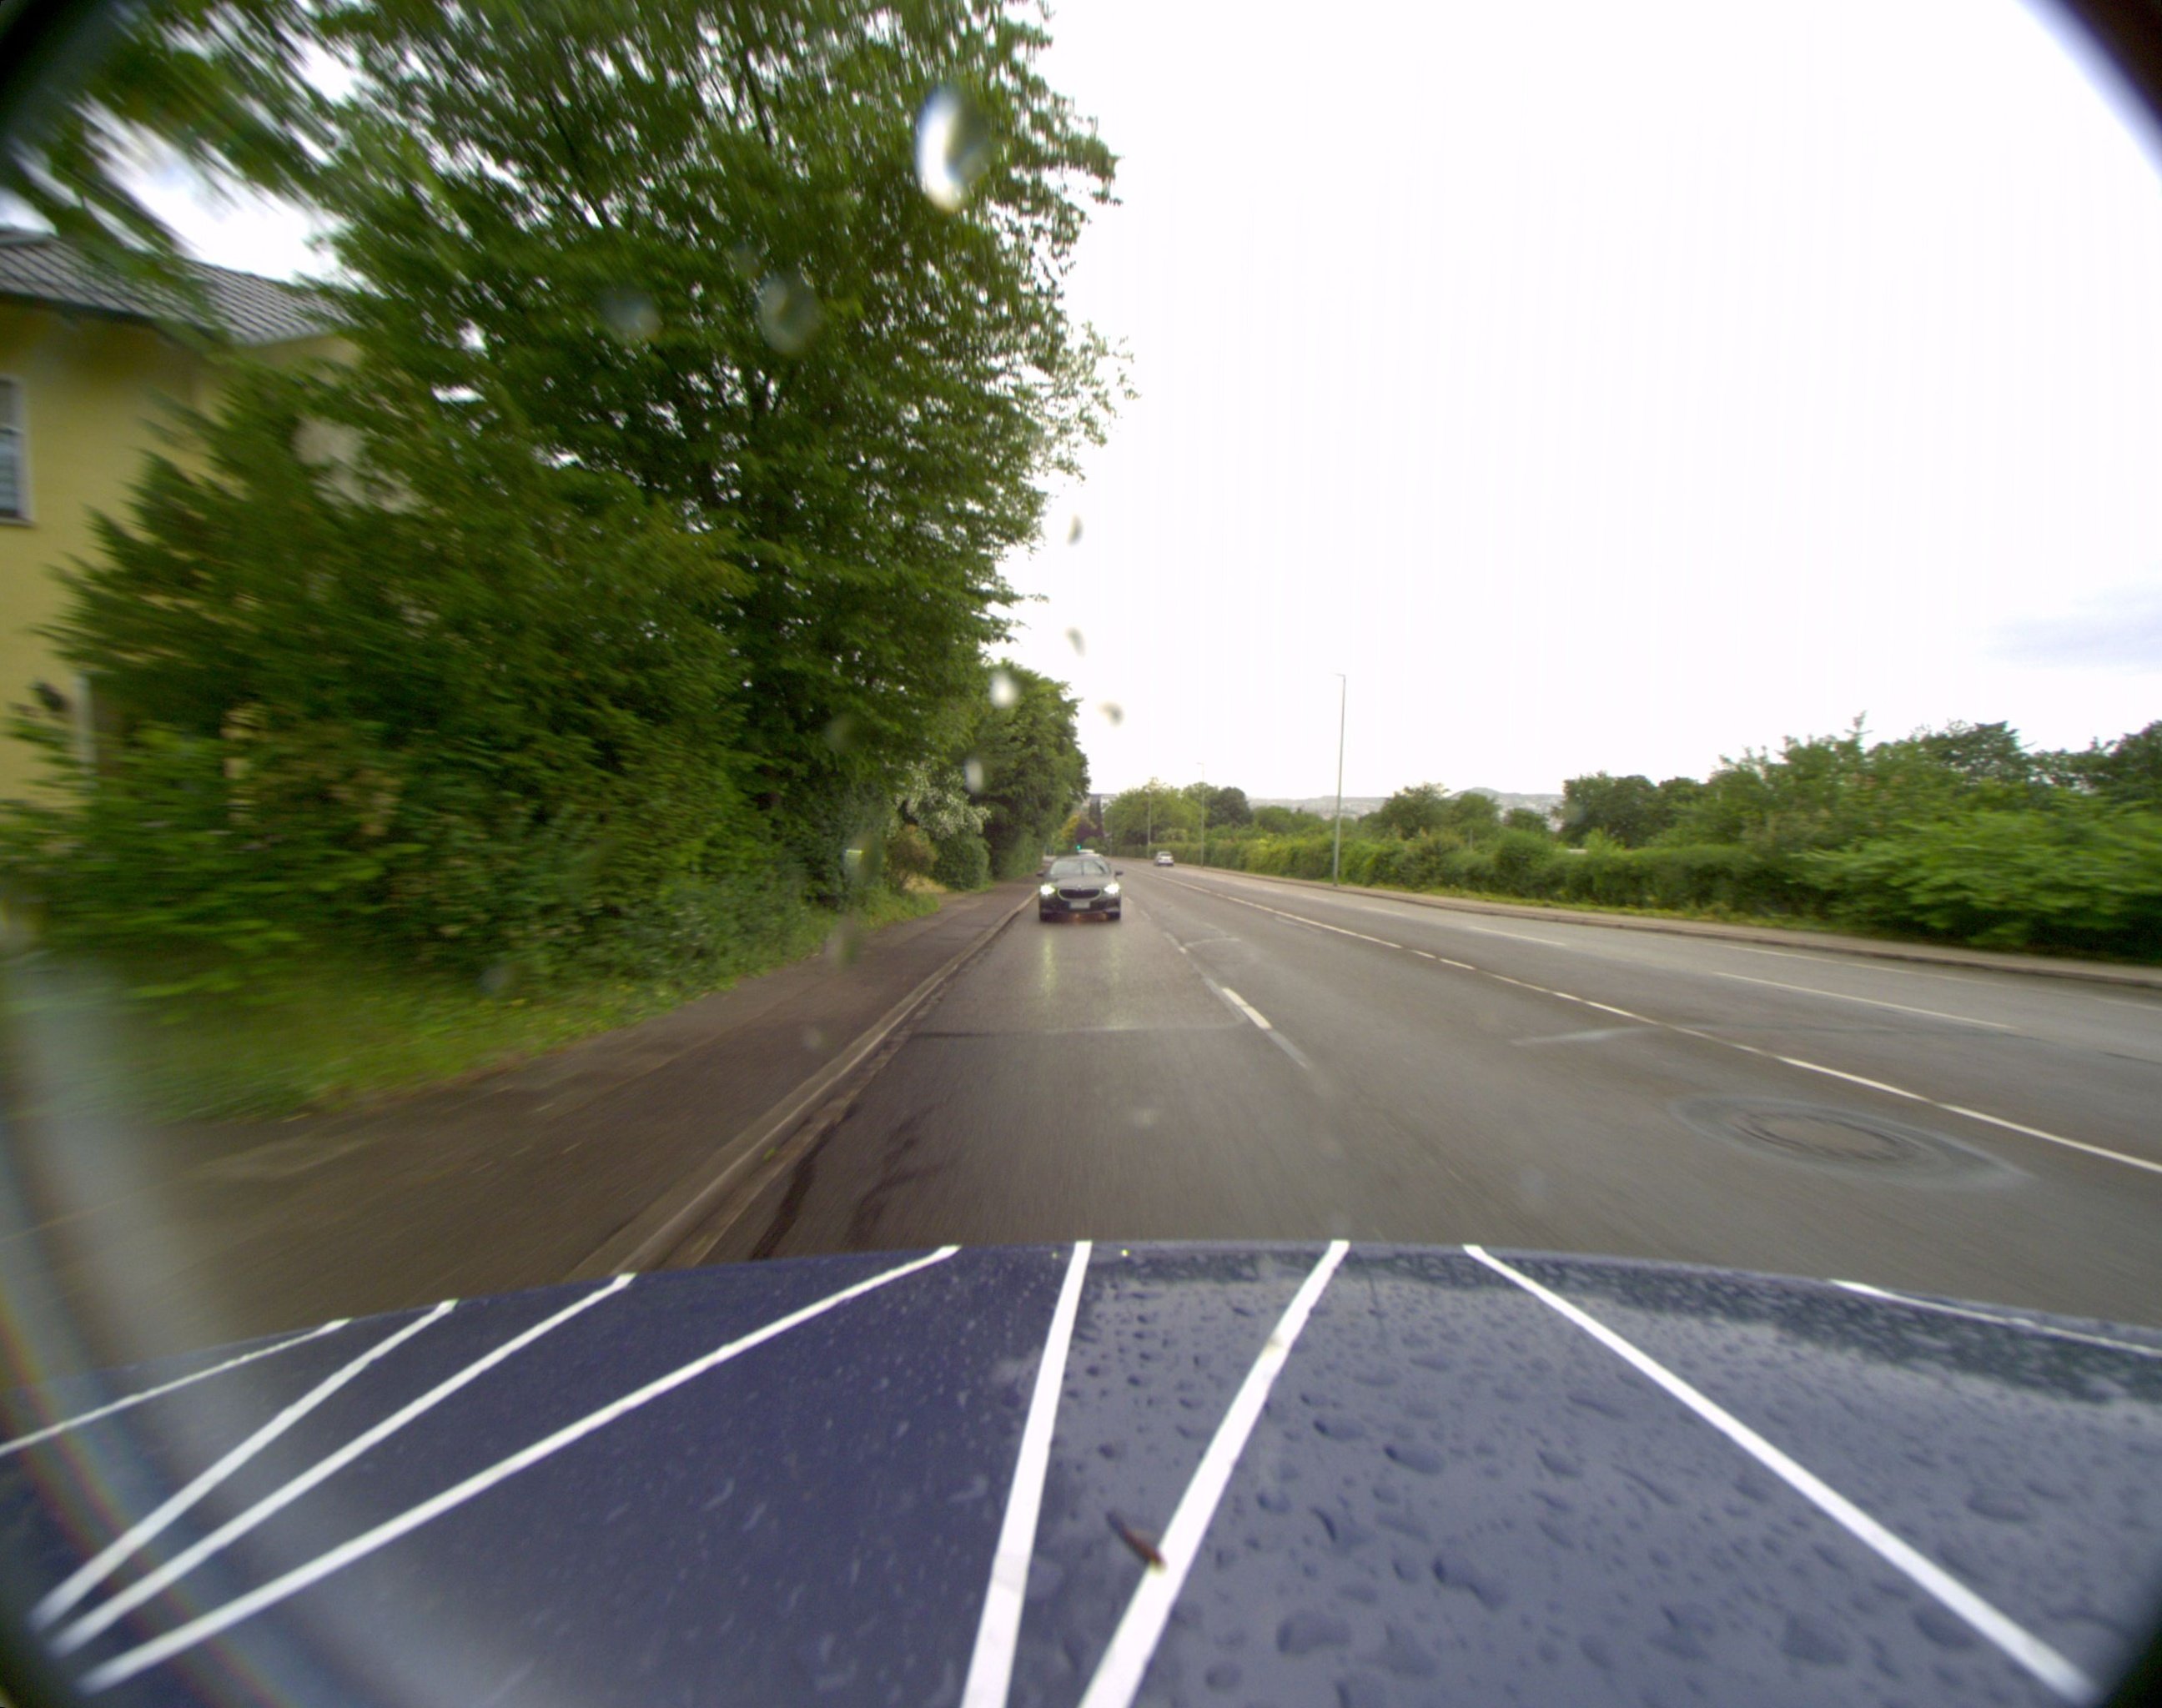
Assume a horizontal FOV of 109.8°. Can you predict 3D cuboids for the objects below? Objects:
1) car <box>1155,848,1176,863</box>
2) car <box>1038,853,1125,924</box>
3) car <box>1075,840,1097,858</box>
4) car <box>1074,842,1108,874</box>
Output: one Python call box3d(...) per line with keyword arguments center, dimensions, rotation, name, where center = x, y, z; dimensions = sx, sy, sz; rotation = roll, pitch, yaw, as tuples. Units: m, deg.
box3d(center=(9.326, 0.163, 83.935), dimensions=(1.761, 1.559, 3.999), rotation=(1, 1, -1), name="car")
box3d(center=(-0.110, 0.752, 18.776), dimensions=(1.846, 1.371, 4.280), rotation=(-2, 2, -3), name="car")
box3d(center=(0.482, -0.486, 72.573), dimensions=(1.704, 1.670, 4.280), rotation=(0, 1, -5), name="car")
box3d(center=(0.545, 0.169, 38.194), dimensions=(1.550, 1.505, 4.283), rotation=(1, 1, 3), name="car")
